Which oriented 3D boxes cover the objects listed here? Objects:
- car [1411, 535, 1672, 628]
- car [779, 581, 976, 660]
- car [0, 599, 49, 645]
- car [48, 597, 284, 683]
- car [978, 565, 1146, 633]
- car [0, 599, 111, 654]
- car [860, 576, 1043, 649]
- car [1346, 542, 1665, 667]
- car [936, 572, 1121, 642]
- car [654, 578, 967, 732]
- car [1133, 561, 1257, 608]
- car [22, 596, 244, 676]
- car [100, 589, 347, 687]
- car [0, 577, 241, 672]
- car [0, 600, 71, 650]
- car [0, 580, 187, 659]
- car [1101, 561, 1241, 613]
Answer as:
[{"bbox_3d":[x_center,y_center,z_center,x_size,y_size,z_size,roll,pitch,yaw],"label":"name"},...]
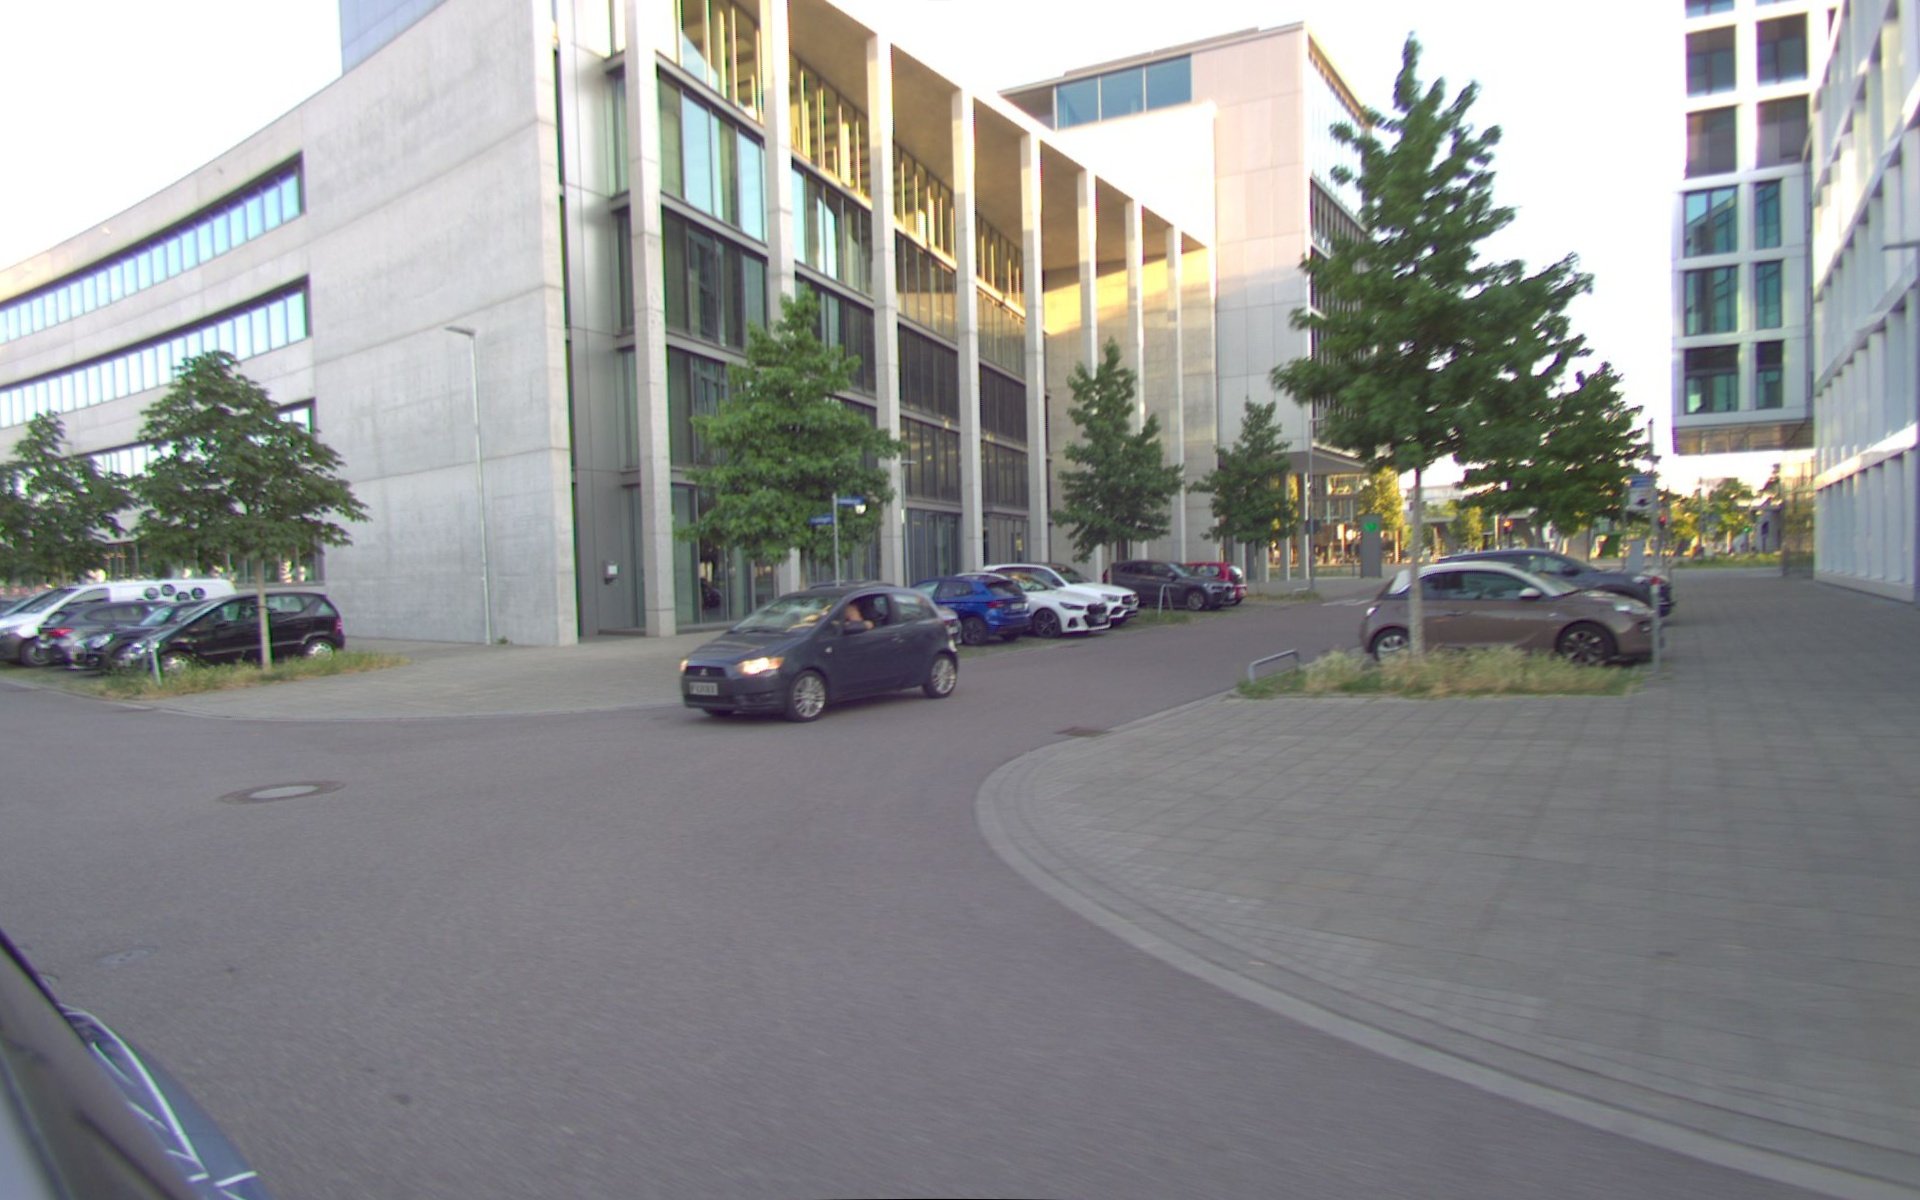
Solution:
[{"bbox_3d":[11.517,-0.359,20.178,4.363,1.664,1.710,-1,2,36],"label":"car"},{"bbox_3d":[-1.706,0.354,20.458,3.809,1.396,1.631,1,3,34],"label":"car"},{"bbox_3d":[-31.253,0.777,31.627,1.795,1.370,3.771,-1,3,34],"label":"car"},{"bbox_3d":[-16.805,0.779,21.544,1.724,1.434,3.610,0,4,40],"label":"car"},{"bbox_3d":[2.624,-0.091,26.512,4.126,1.640,1.631,1,3,34],"label":"car"},{"bbox_3d":[-26.850,0.783,28.750,1.795,1.370,3.771,-1,3,34],"label":"car"},{"bbox_3d":[-0.227,0.218,22.460,3.894,1.439,1.544,1,3,34],"label":"car"},{"bbox_3d":[7.524,0.028,14.071,3.716,1.507,1.710,-1,2,36],"label":"car"},{"bbox_3d":[1.584,0.095,23.977,4.126,1.503,1.631,1,3,34],"label":"car"},{"bbox_3d":[-1.665,0.544,12.362,1.646,1.506,3.692,-1,2,36],"label":"car"},{"bbox_3d":[8.051,-0.552,34.722,3.848,1.516,1.631,1,3,34],"label":"car"},{"bbox_3d":[-18.863,0.759,23.203,1.723,1.434,3.611,-1,3,39],"label":"car"},{"bbox_3d":[-14.586,0.680,20.187,1.724,1.558,3.610,0,4,40],"label":"car"},{"bbox_3d":[-20.987,0.515,24.836,1.884,1.894,5.028,-1,3,34],"label":"car"},{"bbox_3d":[-29.266,0.831,30.171,1.795,1.370,3.771,-1,3,34],"label":"car"},{"bbox_3d":[-24.816,0.504,27.997,1.884,1.840,5.028,-1,3,34],"label":"car"},{"bbox_3d":[6.771,-0.452,32.590,4.126,1.585,1.631,1,3,34],"label":"car"}]
